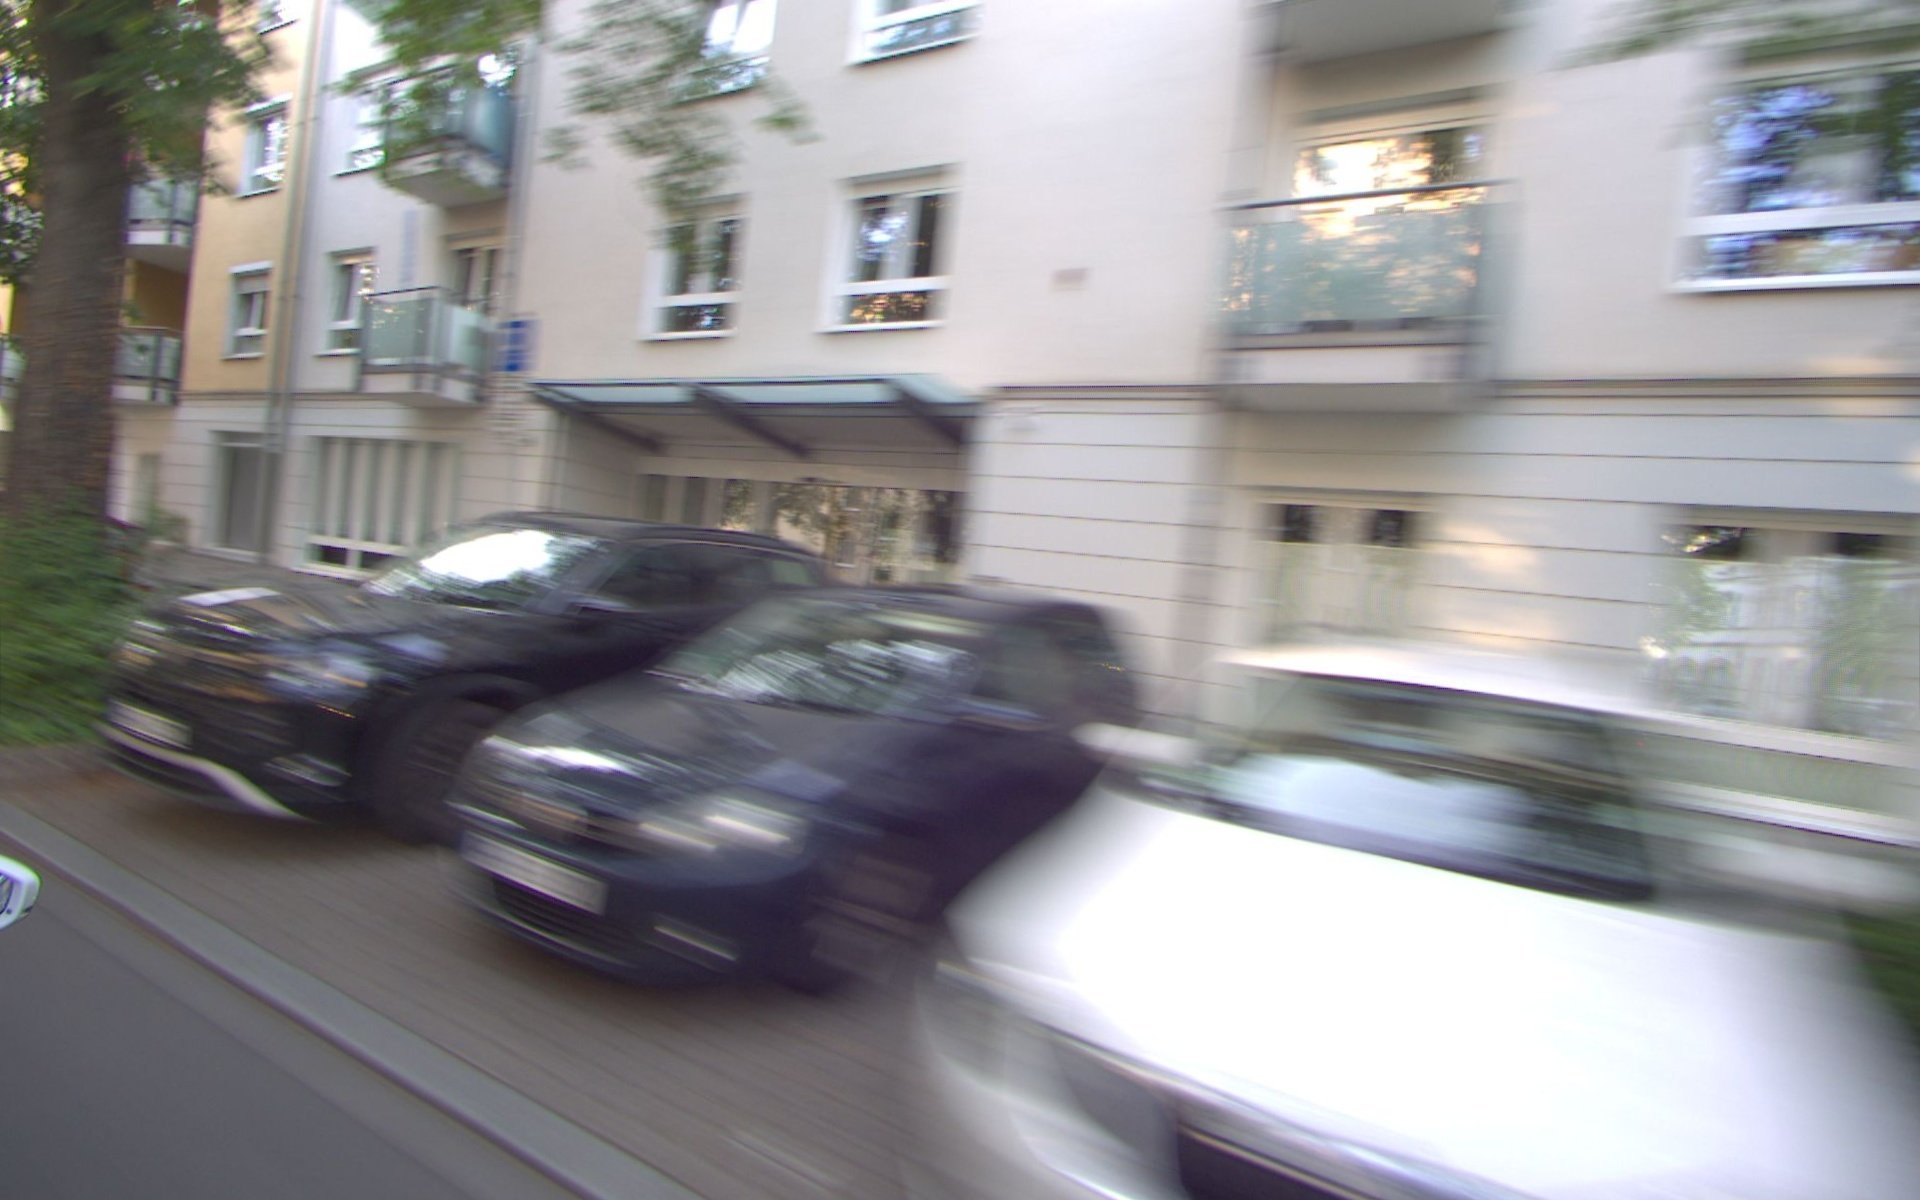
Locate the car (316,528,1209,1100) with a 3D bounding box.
[{"bbox_3d":[-0.447,0.581,5.011,1.898,1.458,4.221,7,3,33],"label":"car"}]

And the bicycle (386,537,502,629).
[{"bbox_3d":[-6.975,-0.239,13.564,1.851,1.050,0.424,7,2,31],"label":"bicycle"}]

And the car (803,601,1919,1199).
[{"bbox_3d":[1.625,0.880,3.569,1.766,1.488,4.601,7,2,30],"label":"car"}]

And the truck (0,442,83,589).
[{"bbox_3d":[-17.701,-1.674,15.440,2.176,2.339,5.896,7,-1,31],"label":"truck"}]

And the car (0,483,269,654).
[{"bbox_3d":[-9.777,-0.390,10.427,1.845,1.563,3.784,7,-1,29],"label":"car"}]

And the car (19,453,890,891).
[{"bbox_3d":[-2.548,0.242,6.421,1.975,1.639,4.646,7,3,27],"label":"car"}]
